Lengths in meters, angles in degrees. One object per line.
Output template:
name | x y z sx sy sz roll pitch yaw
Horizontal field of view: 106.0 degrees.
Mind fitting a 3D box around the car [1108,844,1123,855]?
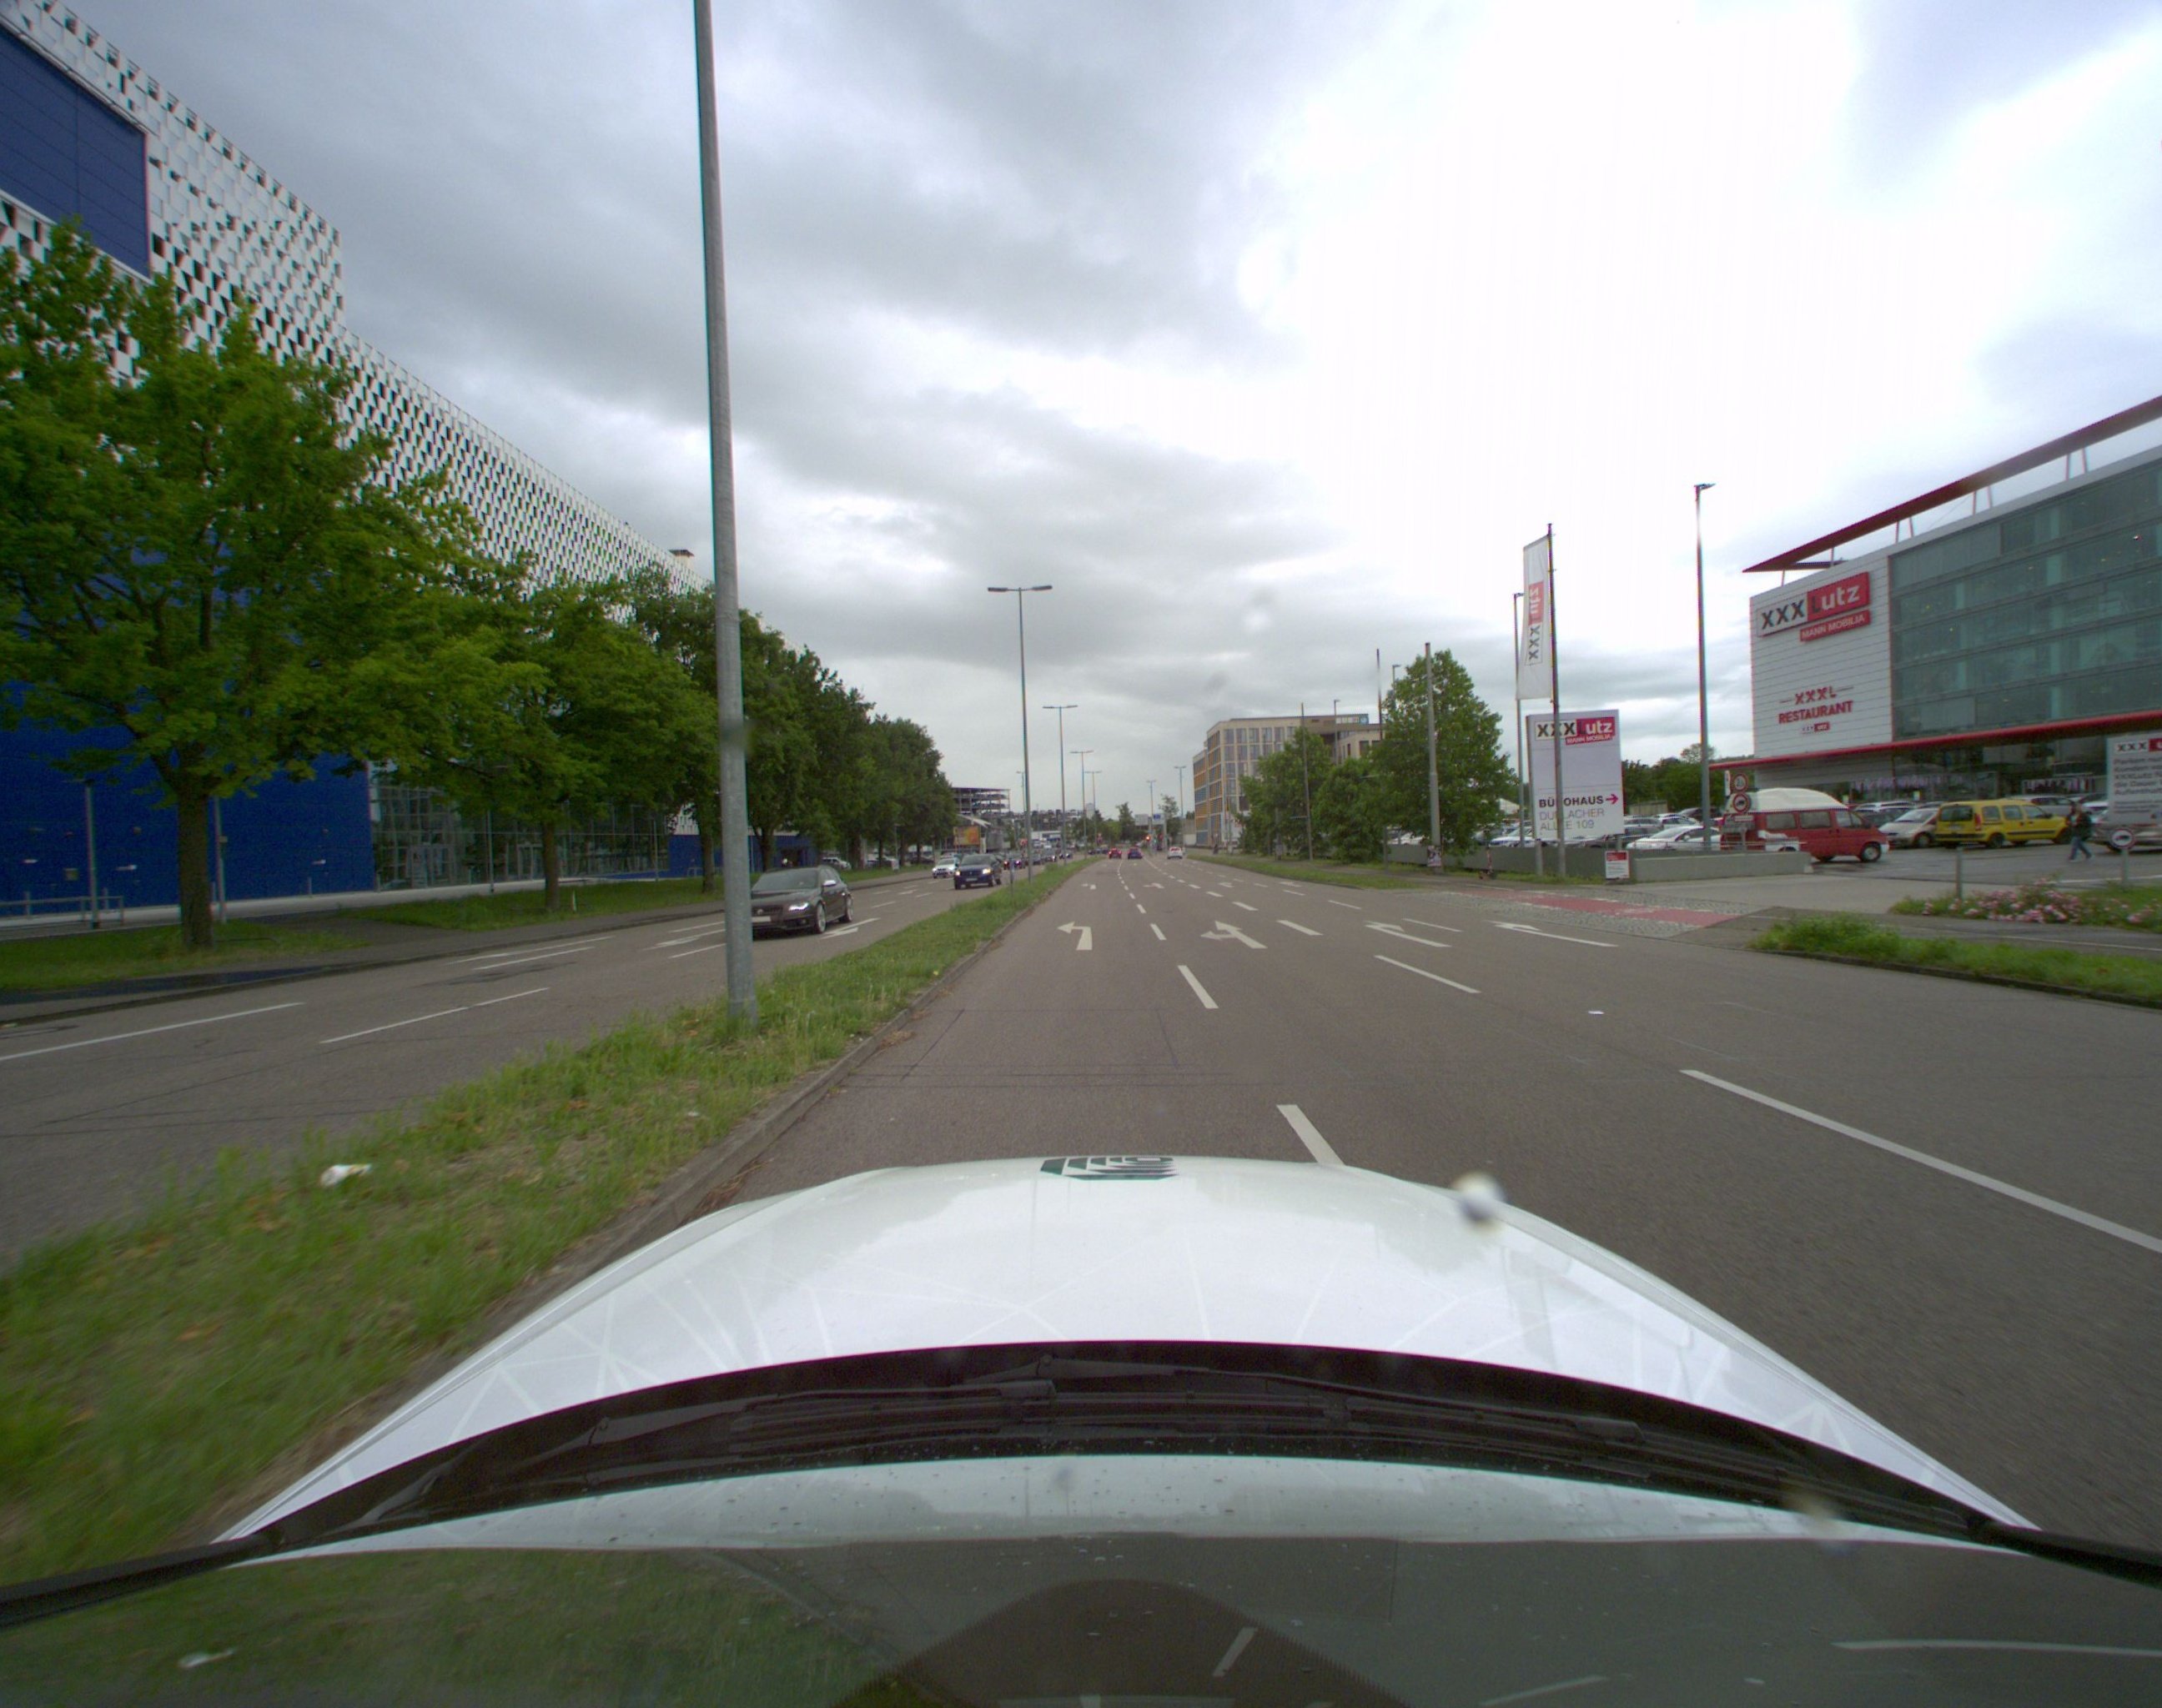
car | 4.913 -0.590 116.619 1.981 1.428 4.242 -2 0 1

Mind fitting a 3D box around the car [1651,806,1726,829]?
car | 38.806 -2.345 52.112 3.553 1.296 1.668 -2 2 2

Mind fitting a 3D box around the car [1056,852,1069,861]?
car | -3.006 0.390 131.529 1.926 1.455 4.179 -2 1 -2

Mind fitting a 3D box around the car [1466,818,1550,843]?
car | 25.815 -1.432 49.270 4.138 1.350 1.810 -2 2 0

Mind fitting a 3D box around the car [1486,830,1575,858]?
car | 25.105 -0.556 45.553 4.040 1.350 1.764 -2 2 0

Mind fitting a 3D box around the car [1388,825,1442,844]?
car | 25.605 -1.483 62.496 3.506 1.307 1.604 -2 2 -4

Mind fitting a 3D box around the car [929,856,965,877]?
car | -10.298 0.939 62.946 1.859 1.454 4.170 -4 0 2

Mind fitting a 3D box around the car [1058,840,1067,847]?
car | -4.775 -2.719 210.796 1.766 1.705 3.926 -2 3 8

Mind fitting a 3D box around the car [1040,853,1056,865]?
car | -4.380 0.688 109.477 1.773 1.455 4.184 -4 1 2

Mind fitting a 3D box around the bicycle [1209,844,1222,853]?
bicycle | 20.206 -0.851 122.335 0.705 1.295 1.990 -2 1 -33

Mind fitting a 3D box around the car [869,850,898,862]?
car | -33.756 0.375 139.332 4.423 1.710 1.999 -2 4 -3

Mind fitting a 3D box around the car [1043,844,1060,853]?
car | -6.463 -1.260 177.509 3.596 1.667 1.548 -2 2 -2

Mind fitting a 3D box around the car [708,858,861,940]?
car | -6.270 0.876 17.825 1.879 1.436 4.425 -4 0 -4

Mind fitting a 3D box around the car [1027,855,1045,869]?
car | -5.234 0.936 94.649 1.767 1.452 4.403 -4 0 -1

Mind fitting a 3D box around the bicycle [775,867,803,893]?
bicycle | -15.037 1.321 41.982 0.640 1.251 2.057 -1 1 1

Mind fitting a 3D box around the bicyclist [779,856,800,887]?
bicyclist | -15.030 0.885 41.997 0.638 1.577 1.000 -1 1 1

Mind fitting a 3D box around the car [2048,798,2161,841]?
car | 39.316 -1.298 30.490 3.970 1.494 1.788 -2 0 3

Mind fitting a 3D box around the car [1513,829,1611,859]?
car | 25.068 -0.547 42.563 4.040 1.350 1.835 -2 2 0

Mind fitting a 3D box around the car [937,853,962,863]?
car | -24.402 0.673 151.378 4.408 1.660 1.997 -2 0 -4

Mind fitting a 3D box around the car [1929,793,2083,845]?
car | 34.448 -1.307 30.415 3.721 1.767 1.735 -2 2 3

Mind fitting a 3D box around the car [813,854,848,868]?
car | -41.740 1.234 135.862 5.119 1.963 1.879 -3 4 -3

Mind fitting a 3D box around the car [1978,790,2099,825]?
car | 49.842 -2.424 42.473 3.969 1.610 1.885 -2 2 4

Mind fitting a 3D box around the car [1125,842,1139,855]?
car | 6.858 -0.768 109.581 1.827 1.514 4.003 -2 1 2

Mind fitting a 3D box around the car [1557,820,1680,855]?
car | 24.931 -0.782 37.896 4.447 1.419 1.869 -2 2 3

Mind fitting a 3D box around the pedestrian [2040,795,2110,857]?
pedestrian | 28.683 -0.805 23.522 0.936 1.719 0.886 -2 2 0

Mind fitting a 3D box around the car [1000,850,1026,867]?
car | -6.355 0.406 76.251 1.750 1.453 4.003 -4 0 3

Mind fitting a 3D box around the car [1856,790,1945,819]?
car | 50.389 -3.043 50.141 3.551 1.587 1.742 -2 0 6

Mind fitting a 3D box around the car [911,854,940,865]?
car | -25.964 0.899 136.025 4.535 1.659 1.997 -3 1 -4

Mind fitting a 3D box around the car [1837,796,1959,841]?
car | 40.427 -1.735 40.395 3.971 2.013 1.978 -2 0 2

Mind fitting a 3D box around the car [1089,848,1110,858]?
car | 3.463 -0.221 151.917 3.848 1.634 1.723 -2 2 -4

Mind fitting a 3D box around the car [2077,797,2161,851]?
car | 34.039 -0.986 25.049 4.393 1.583 1.836 -2 2 3

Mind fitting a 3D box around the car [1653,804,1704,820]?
car | 50.844 -3.591 69.298 3.241 1.229 1.463 -2 2 1

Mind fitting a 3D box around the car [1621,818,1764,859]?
car | 24.787 -0.665 33.131 4.356 1.461 1.963 -2 2 3

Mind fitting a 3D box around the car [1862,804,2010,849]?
car | 34.540 -1.125 32.992 3.971 1.595 1.881 -2 2 2

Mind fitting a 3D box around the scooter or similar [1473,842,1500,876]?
scooter or similar | 14.893 0.178 29.928 0.369 1.190 1.249 -3 1 2

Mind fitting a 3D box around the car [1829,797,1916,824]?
car | 50.722 -2.783 52.229 3.773 1.553 1.746 -2 2 6

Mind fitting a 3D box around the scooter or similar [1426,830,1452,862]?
scooter or similar | 16.580 -0.379 37.760 0.646 1.421 1.824 -3 0 10

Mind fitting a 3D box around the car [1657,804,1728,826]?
car | 41.321 -2.630 55.095 3.553 1.296 1.668 -2 2 2

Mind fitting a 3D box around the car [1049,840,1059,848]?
car | -6.955 -2.639 210.836 1.766 1.705 3.926 -2 3 8

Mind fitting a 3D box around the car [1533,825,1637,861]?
car | 24.886 -0.562 40.299 4.037 1.540 1.766 -2 2 3

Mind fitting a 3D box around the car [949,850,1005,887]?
car | -4.785 0.645 38.045 1.924 1.486 4.440 -4 0 1

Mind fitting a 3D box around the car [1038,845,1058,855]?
car | -6.704 -0.848 166.850 3.977 1.789 1.846 -2 2 -2

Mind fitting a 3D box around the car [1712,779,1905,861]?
car | 25.059 -1.181 28.213 4.703 2.578 2.173 -2 2 3

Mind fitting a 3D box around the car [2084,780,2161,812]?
car | 55.180 -3.057 42.401 3.757 1.553 1.743 -2 2 1

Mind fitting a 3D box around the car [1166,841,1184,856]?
car | 11.843 -0.695 102.741 1.985 1.752 4.184 -2 0 4
